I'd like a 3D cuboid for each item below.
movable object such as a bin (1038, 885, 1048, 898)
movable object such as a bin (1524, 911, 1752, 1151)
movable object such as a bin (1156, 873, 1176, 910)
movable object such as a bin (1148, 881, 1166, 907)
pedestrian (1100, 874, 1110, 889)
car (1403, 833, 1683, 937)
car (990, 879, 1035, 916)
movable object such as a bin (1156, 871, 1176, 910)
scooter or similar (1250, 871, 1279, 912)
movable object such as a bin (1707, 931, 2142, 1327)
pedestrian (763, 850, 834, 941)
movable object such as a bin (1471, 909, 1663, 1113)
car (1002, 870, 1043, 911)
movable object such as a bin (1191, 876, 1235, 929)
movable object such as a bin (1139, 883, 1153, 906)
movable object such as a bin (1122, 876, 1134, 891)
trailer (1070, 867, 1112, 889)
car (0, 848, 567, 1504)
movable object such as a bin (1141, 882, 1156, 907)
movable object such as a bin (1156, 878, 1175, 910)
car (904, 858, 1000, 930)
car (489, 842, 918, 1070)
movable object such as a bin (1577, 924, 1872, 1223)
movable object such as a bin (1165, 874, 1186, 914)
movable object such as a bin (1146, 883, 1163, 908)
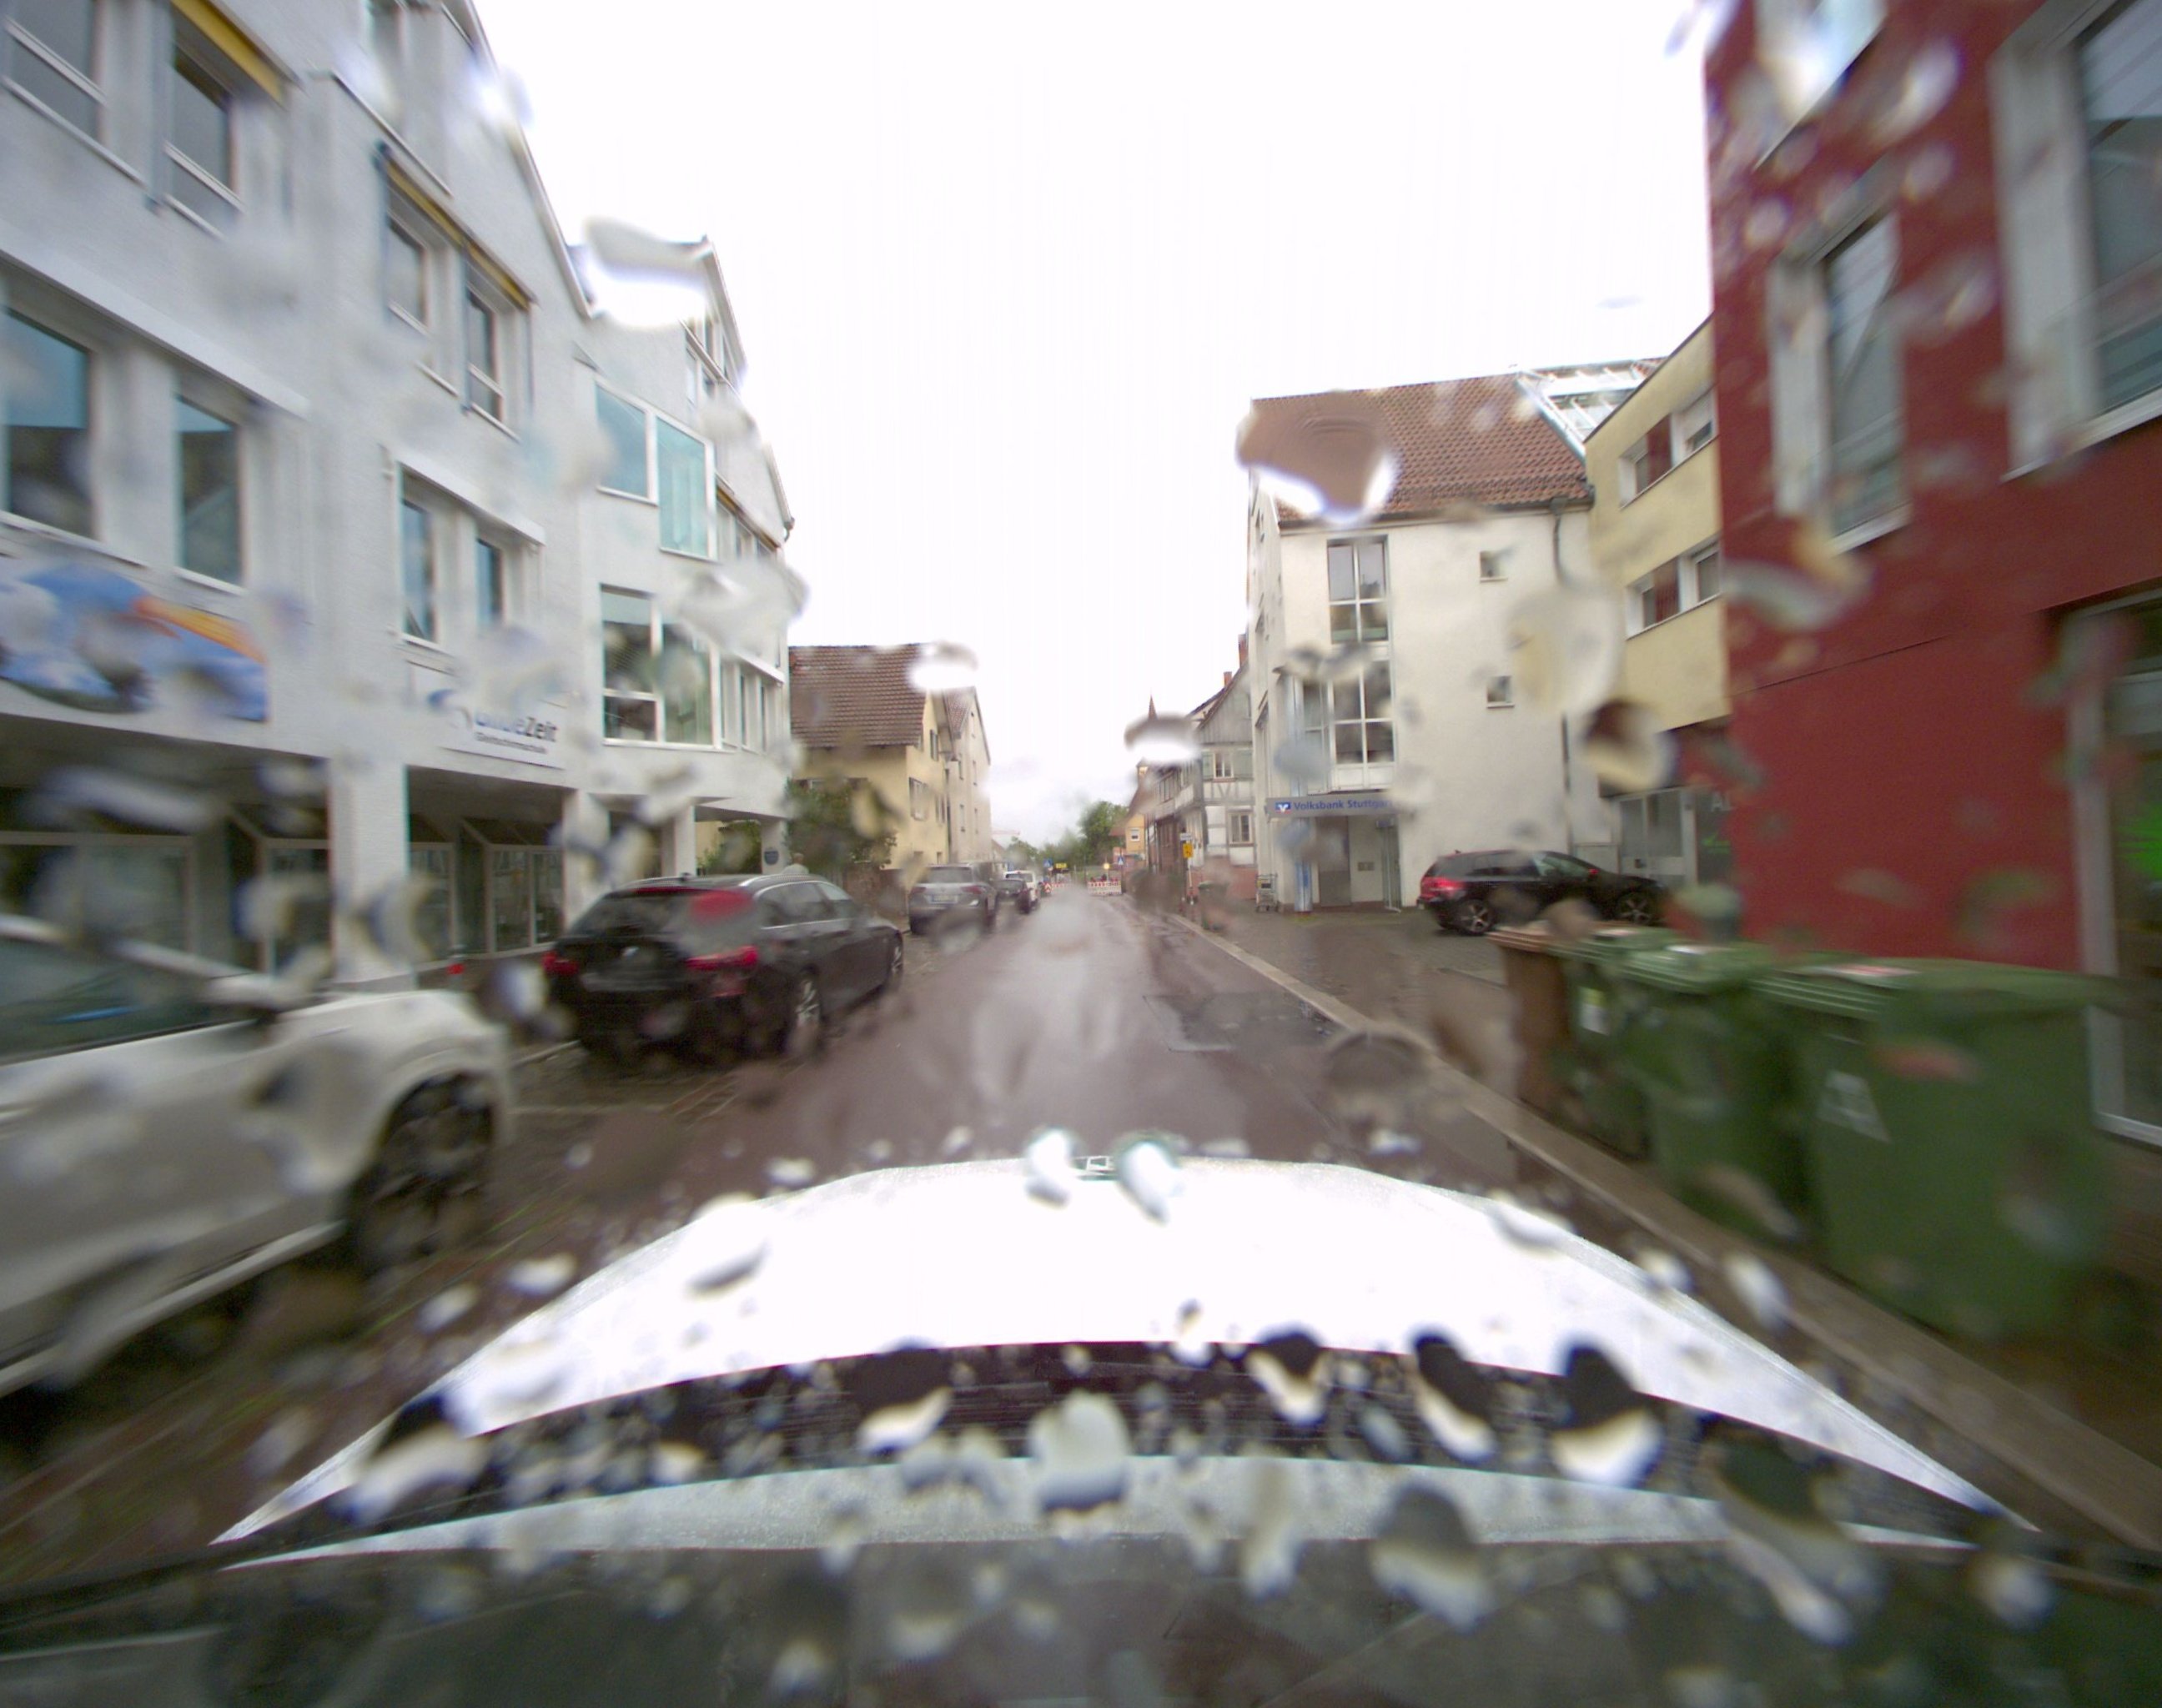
[{"bbox_3d":[-3.257,3.227,70.252,0.538,1.033,0.538,-7,-5,33],"label":"movable object such as a bin"},{"bbox_3d":[2.830,0.866,4.205,0.707,1.094,0.614,-2,-2,2],"label":"movable object such as a bin"},{"bbox_3d":[3.004,1.334,28.865,0.635,1.290,0.633,-2,-3,5],"label":"movable object such as a bin"},{"bbox_3d":[3.307,1.728,35.507,0.676,1.097,0.649,-1,-2,-3],"label":"movable object such as a bin"},{"bbox_3d":[2.783,3.166,93.675,0.989,1.759,0.850,-2,-3,-6],"label":"pedestrian"},{"bbox_3d":[8.166,0.531,14.785,3.961,1.514,1.918,-4,1,11],"label":"car"},{"bbox_3d":[-2.799,1.777,33.875,1.677,1.389,3.821,-2,-3,-3],"label":"car"},{"bbox_3d":[2.933,1.259,28.166,0.635,1.290,0.633,-2,-3,5],"label":"movable object such as a bin"},{"bbox_3d":[5.323,1.081,23.724,0.661,1.146,1.449,-2,-3,7],"label":"scooter or similar"},{"bbox_3d":[2.757,0.843,2.761,0.673,1.086,0.718,-2,-2,2],"label":"movable object such as a bin"},{"bbox_3d":[-5.834,0.839,16.866,1.031,1.806,1.116,-1,-1,0],"label":"pedestrian"},{"bbox_3d":[2.872,0.899,4.878,0.726,1.081,0.647,-2,-2,2],"label":"movable object such as a bin"},{"bbox_3d":[-2.812,1.788,39.723,1.719,1.825,4.424,-2,-3,-2],"label":"car"},{"bbox_3d":[2.986,1.097,18.470,0.801,1.131,0.862,-2,-3,-1],"label":"movable object such as a bin"},{"bbox_3d":[3.270,2.024,41.078,0.607,1.128,0.599,-2,-3,0],"label":"movable object such as a bin"},{"bbox_3d":[5.030,3.104,86.591,1.059,1.512,1.245,-6,-2,8],"label":"movable object such as a bin"},{"bbox_3d":[1.400,3.513,117.154,5.771,2.948,1.996,-2,-3,-5],"label":"trailer"},{"bbox_3d":[-3.444,0.754,1.987,1.785,1.551,4.000,1,0,0],"label":"car"},{"bbox_3d":[3.179,1.894,38.183,0.635,1.147,0.604,-2,-3,5],"label":"movable object such as a bin"},{"bbox_3d":[3.069,1.446,29.618,0.613,1.131,0.633,-2,-3,5],"label":"movable object such as a bin"},{"bbox_3d":[-3.156,1.004,20.796,1.775,1.569,4.405,-2,-3,-1],"label":"car"},{"bbox_3d":[-3.117,0.747,8.062,1.823,1.499,4.765,-3,-1,2],"label":"car"},{"bbox_3d":[2.699,0.879,3.502,0.673,1.084,0.698,-2,-2,2],"label":"movable object such as a bin"},{"bbox_3d":[3.168,1.338,27.390,0.635,1.290,0.633,-2,-3,5],"label":"movable object such as a bin"},{"bbox_3d":[3.310,1.882,36.823,0.668,1.081,0.587,-3,-3,-2],"label":"movable object such as a bin"}]
